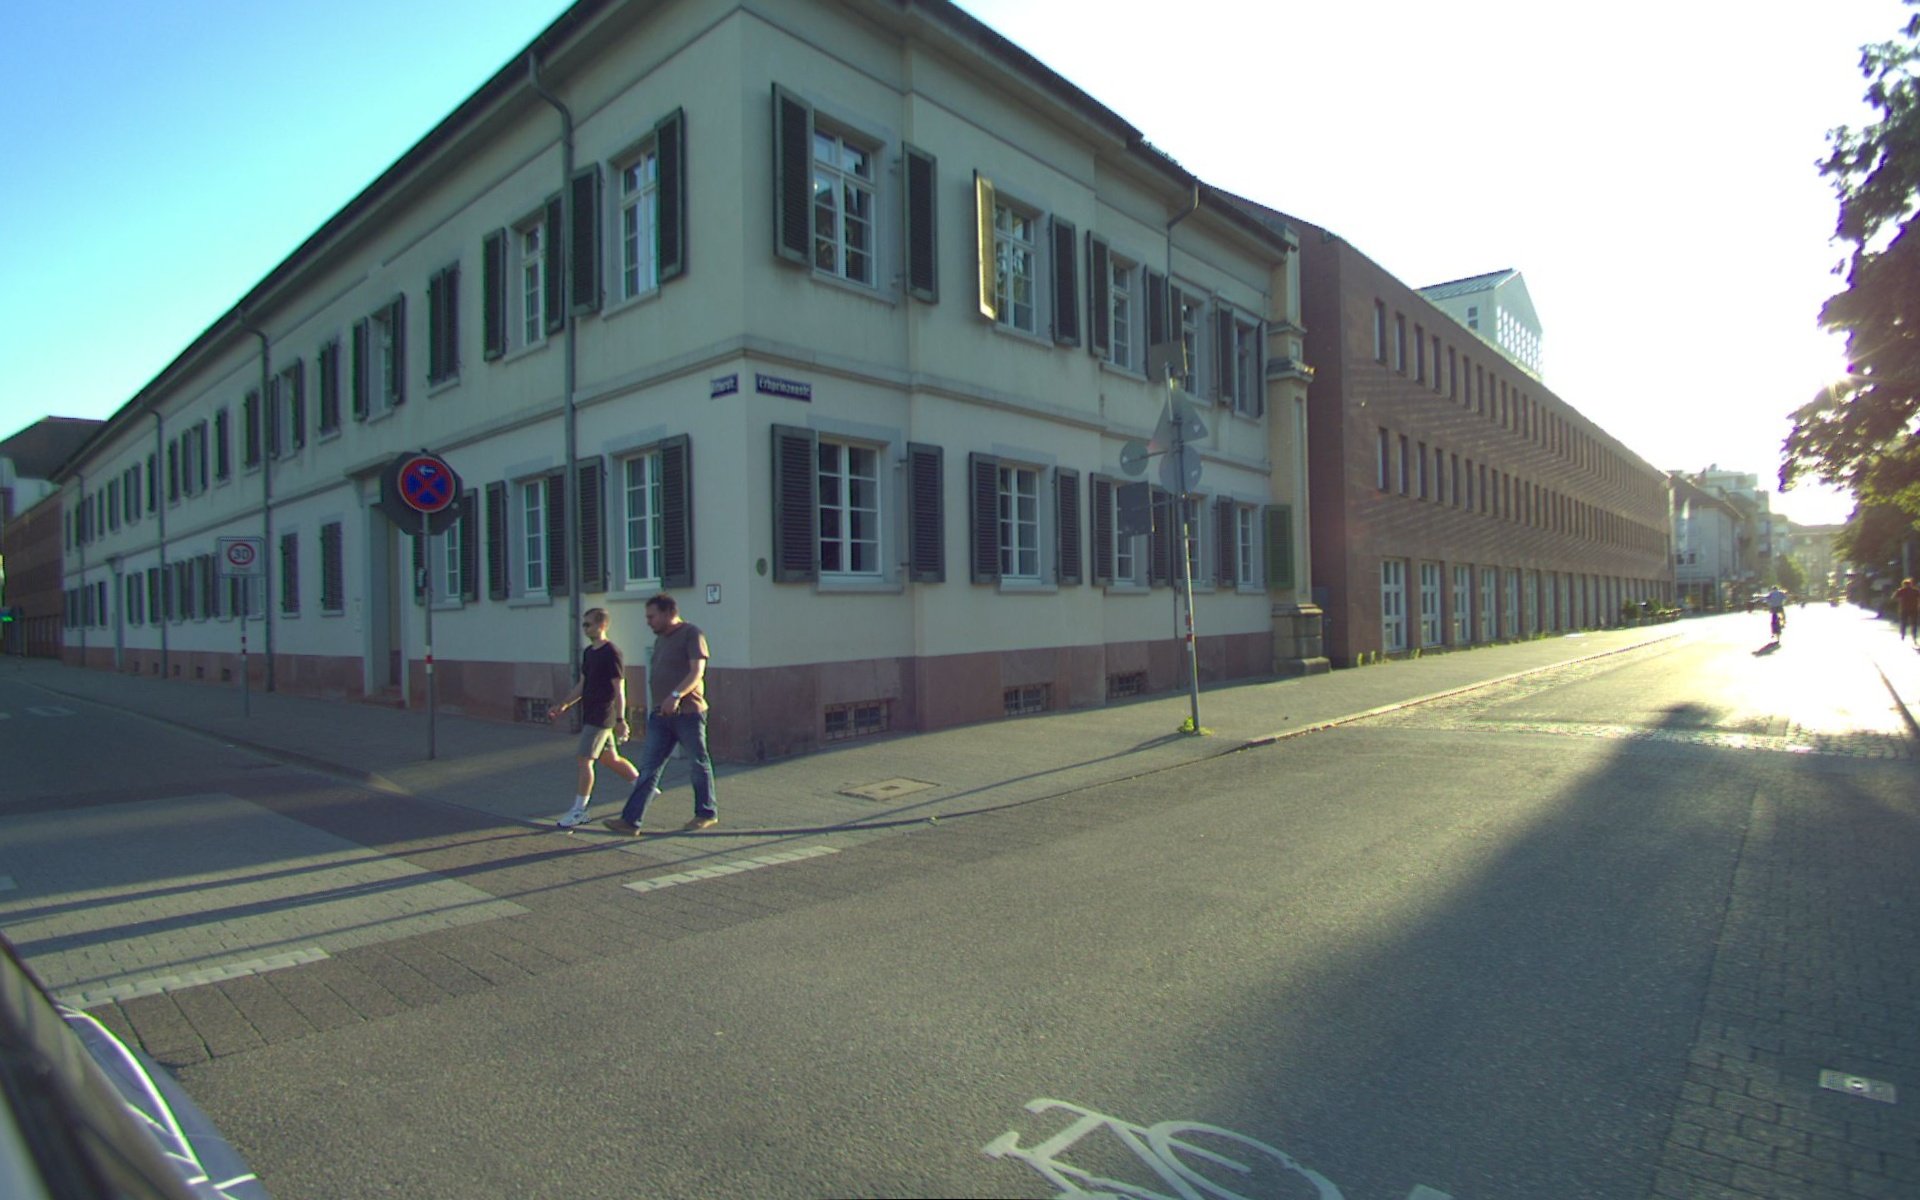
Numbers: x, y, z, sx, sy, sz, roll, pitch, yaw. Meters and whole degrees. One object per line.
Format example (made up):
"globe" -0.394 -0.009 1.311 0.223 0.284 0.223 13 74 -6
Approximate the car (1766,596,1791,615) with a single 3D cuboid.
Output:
"car" 92.533 0.626 114.409 1.999 2.029 3.945 -3 -2 41

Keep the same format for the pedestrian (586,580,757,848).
"pedestrian" -2.109 0.782 7.424 0.761 1.801 0.929 -3 -2 40

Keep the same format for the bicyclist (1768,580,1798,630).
"bicyclist" 26.268 0.178 32.298 0.630 1.563 0.666 -3 -2 44

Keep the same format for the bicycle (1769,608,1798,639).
"bicycle" 26.242 0.742 32.247 0.533 0.940 1.808 -3 -2 44

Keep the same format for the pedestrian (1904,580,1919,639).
"pedestrian" 27.692 0.271 29.170 0.654 1.706 0.741 -3 -2 44

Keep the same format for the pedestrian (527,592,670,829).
"pedestrian" -2.858 0.827 8.021 0.649 1.753 0.848 -3 -2 40
